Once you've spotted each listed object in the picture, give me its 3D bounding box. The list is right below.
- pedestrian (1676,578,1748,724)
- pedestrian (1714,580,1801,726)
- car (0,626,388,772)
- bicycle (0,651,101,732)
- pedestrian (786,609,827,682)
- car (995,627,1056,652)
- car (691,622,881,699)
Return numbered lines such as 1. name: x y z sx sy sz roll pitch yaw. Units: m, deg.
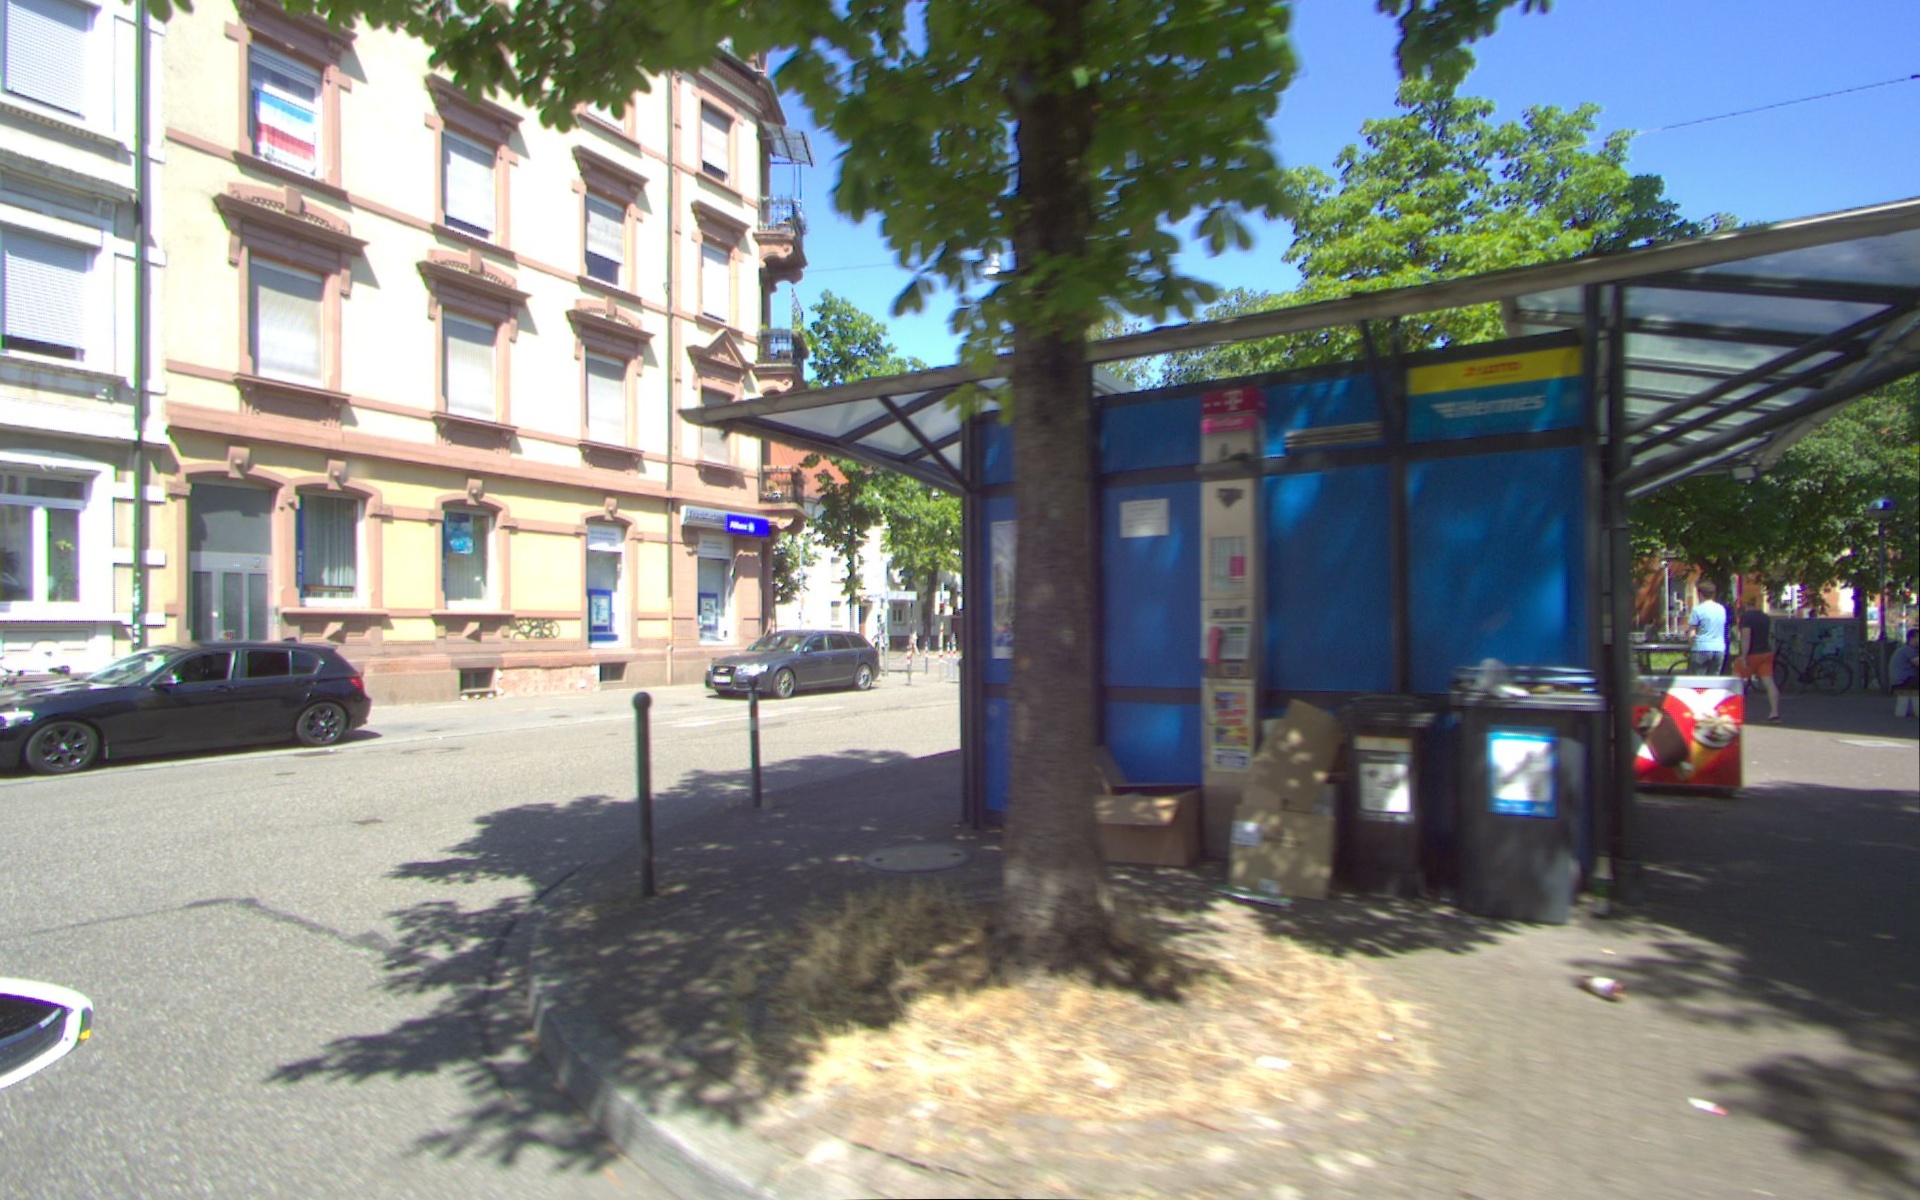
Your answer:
1. pedestrian: 10.033 0.678 13.372 0.510 1.893 0.653 -1 -1 12
2. pedestrian: 10.799 0.706 13.588 0.590 1.904 0.882 -1 -1 16
3. car: -9.773 1.085 12.473 1.780 1.388 4.287 2 1 31
4. bicycle: -13.111 1.262 13.740 0.417 1.035 2.002 2 1 29
5. pedestrian: -4.461 1.308 29.023 1.033 2.040 1.229 -1 0 -13
6. car: 4.594 2.726 70.005 3.952 1.643 1.969 0 -1 -38
7. car: -3.794 1.273 22.616 1.780 1.474 4.415 0 0 31
